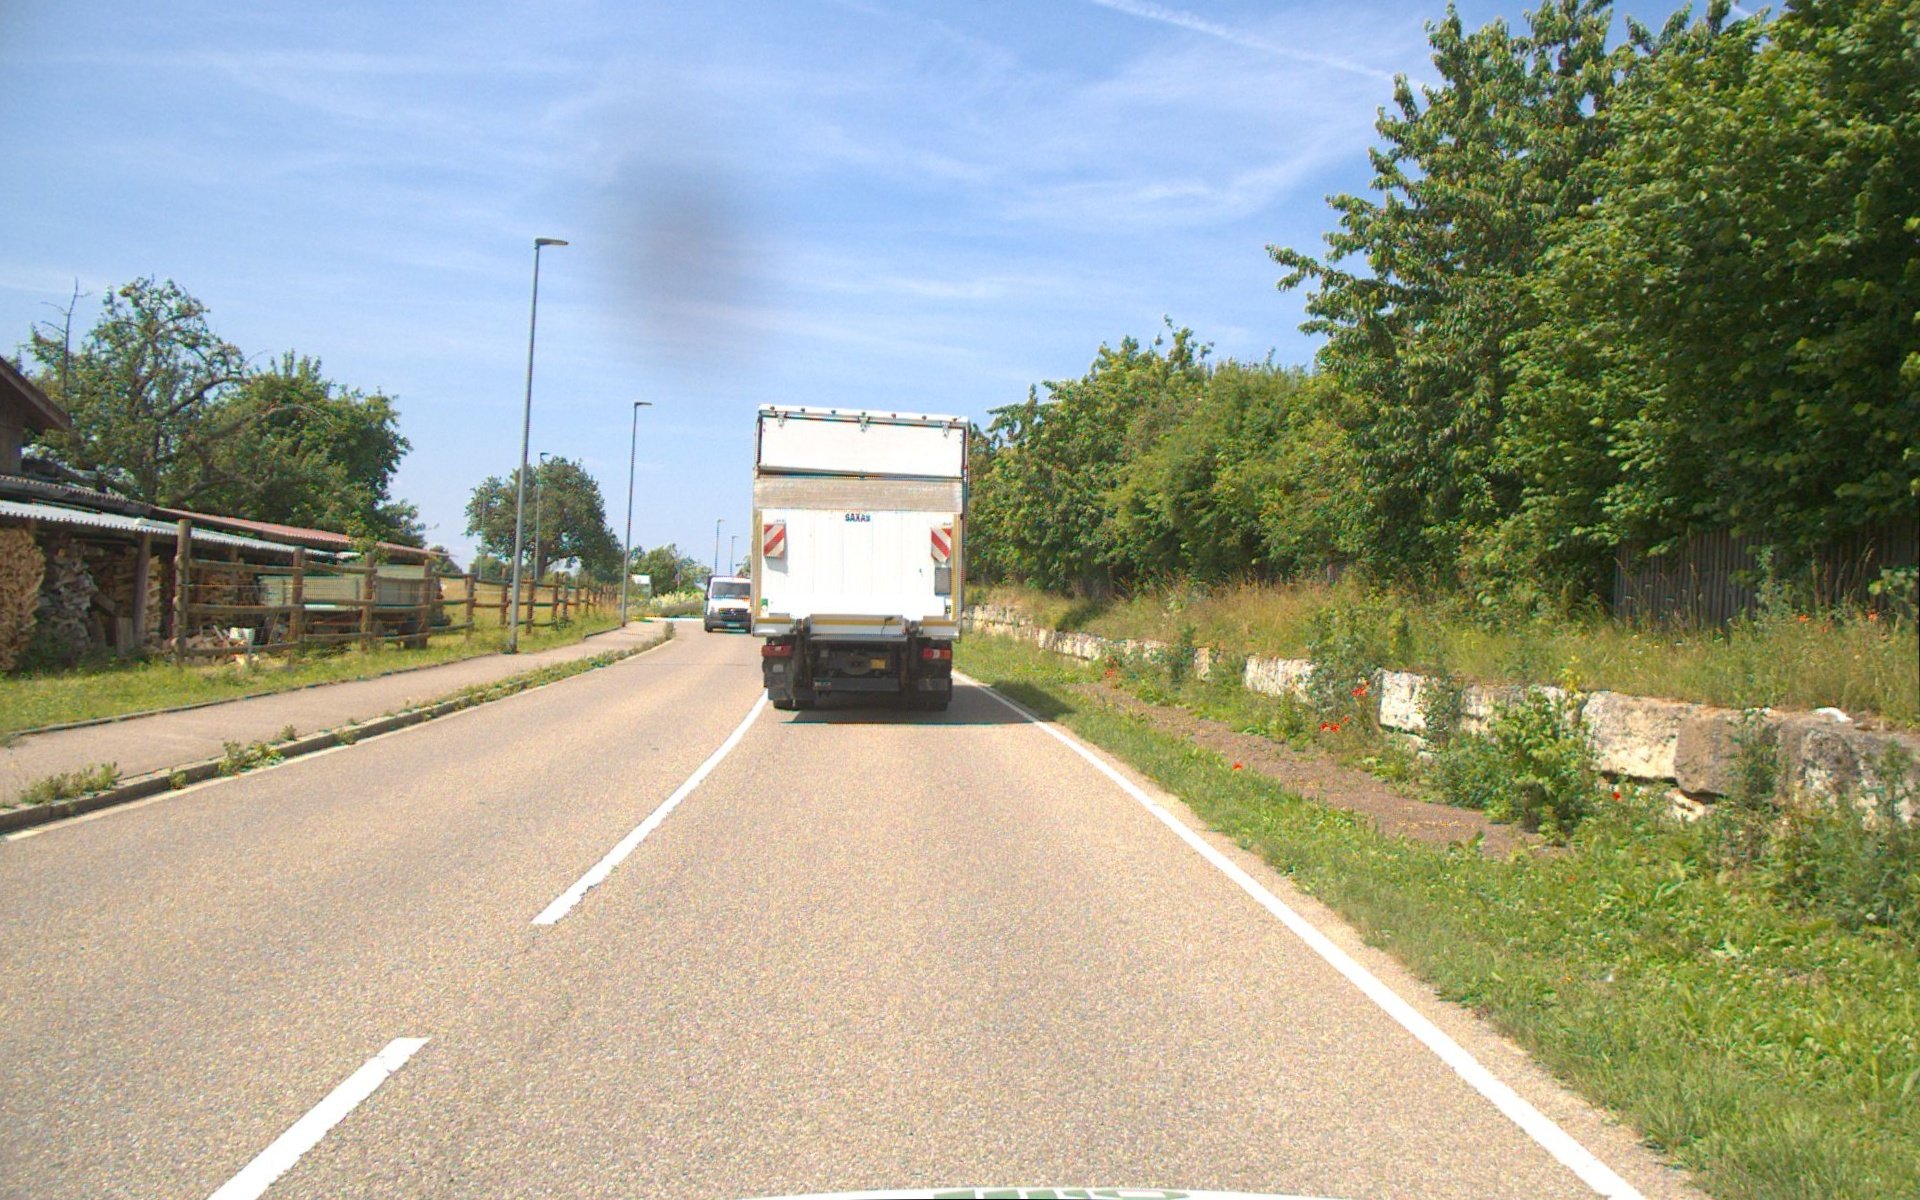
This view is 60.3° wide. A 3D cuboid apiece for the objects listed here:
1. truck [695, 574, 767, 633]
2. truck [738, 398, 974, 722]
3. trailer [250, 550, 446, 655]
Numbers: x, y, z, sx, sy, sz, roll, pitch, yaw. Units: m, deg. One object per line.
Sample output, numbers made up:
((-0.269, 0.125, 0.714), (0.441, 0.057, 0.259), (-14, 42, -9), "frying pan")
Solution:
((-9.645, 0.145, 69.169), (2.185, 2.333, 6.466), (1, 0, -15), "truck")
((-1.361, -0.444, 23.839), (2.711, 3.735, 9.378), (0, 0, -2), "truck")
((-11.220, 0.043, 30.736), (2.113, 1.733, 5.024), (1, 0, -5), "trailer")
